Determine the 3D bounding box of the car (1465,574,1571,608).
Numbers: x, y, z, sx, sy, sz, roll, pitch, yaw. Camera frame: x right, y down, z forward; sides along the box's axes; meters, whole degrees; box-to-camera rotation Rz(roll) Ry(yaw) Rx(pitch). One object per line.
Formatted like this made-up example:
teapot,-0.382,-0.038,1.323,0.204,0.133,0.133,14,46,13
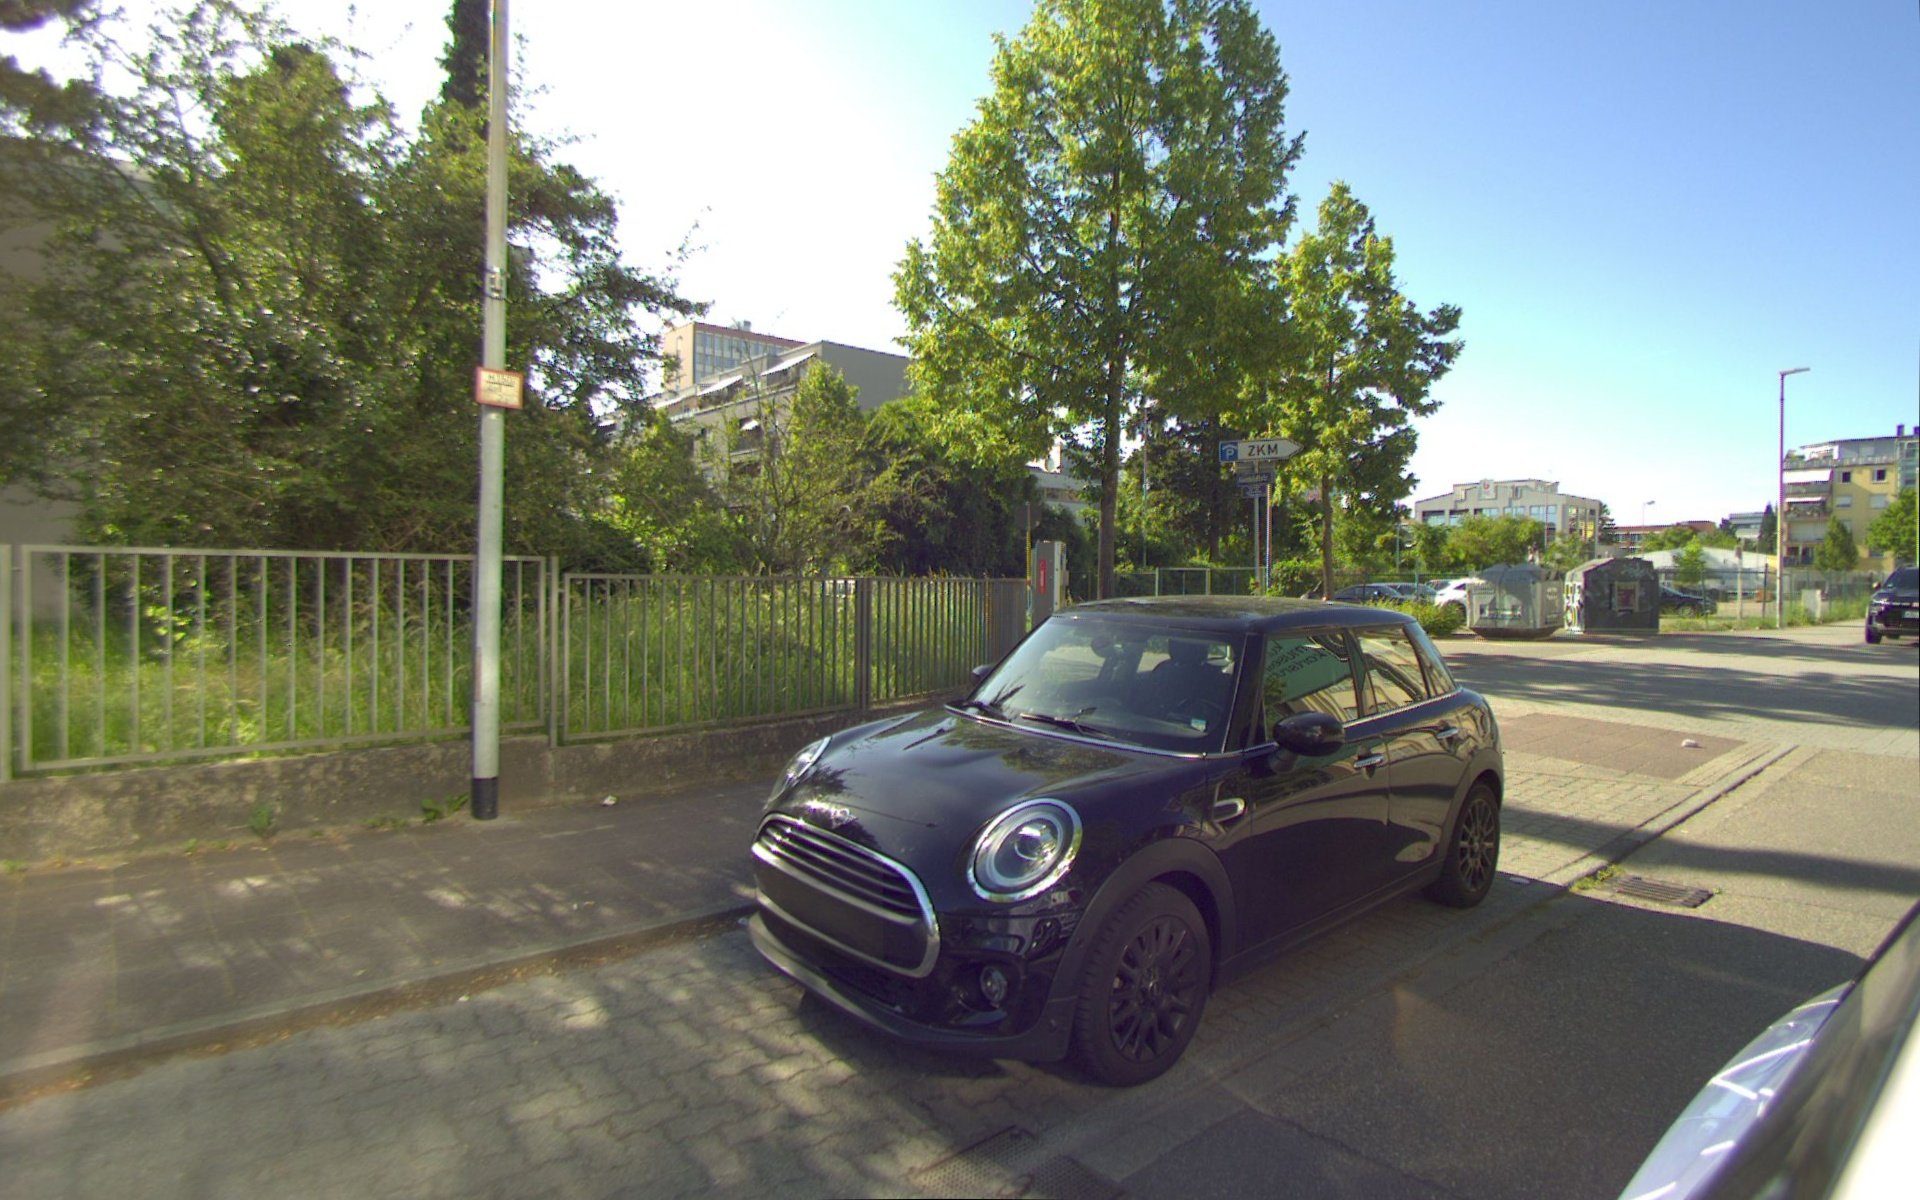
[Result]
car,27.494,-0.469,49.951,1.864,1.579,4.237,0,1,-40

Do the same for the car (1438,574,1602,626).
car,18.663,-0.058,33.916,1.963,1.630,4.424,-1,1,-37

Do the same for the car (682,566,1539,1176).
car,0.894,0.626,4.363,3.699,1.490,1.655,-1,3,-41

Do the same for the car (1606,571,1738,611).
car,30.125,-0.412,42.920,1.863,1.579,4.240,-1,1,-37

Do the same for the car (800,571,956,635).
car,-2.155,0.003,25.431,1.721,1.439,4.420,-1,3,-39

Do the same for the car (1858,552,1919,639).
car,20.564,-0.107,21.167,4.029,1.716,1.998,-1,2,-39

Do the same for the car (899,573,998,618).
car,-0.452,-0.207,37.083,1.694,1.492,3.540,-3,3,-42

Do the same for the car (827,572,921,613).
car,-3.532,-0.353,41.201,1.814,1.492,3.997,-3,3,-40
